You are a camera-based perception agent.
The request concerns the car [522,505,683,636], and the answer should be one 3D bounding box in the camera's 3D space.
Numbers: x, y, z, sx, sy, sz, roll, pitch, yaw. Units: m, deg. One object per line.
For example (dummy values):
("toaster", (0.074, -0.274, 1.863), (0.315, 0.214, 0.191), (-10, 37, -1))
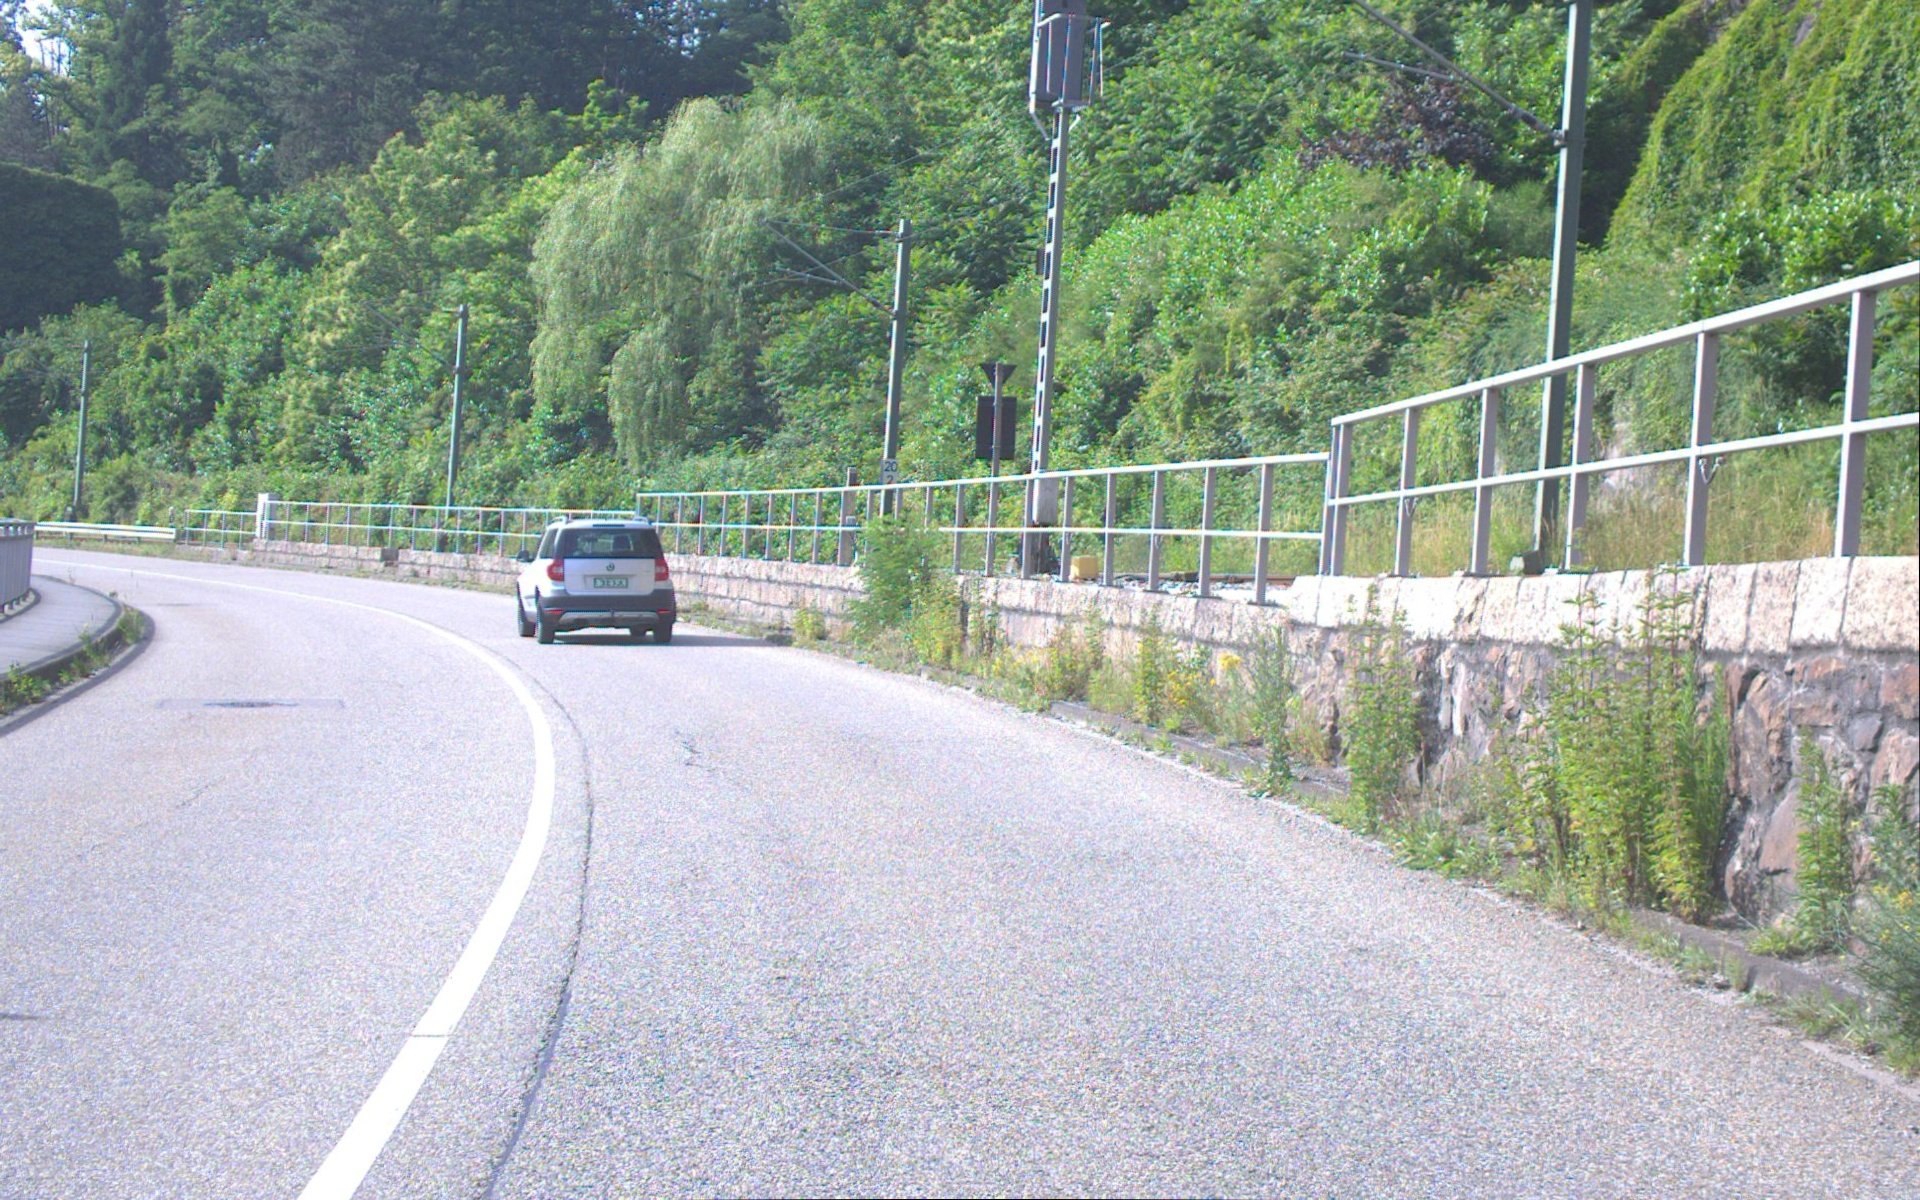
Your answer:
("car", (-4.830, -0.428, 46.063), (1.872, 1.650, 4.001), (1, 1, -9))
